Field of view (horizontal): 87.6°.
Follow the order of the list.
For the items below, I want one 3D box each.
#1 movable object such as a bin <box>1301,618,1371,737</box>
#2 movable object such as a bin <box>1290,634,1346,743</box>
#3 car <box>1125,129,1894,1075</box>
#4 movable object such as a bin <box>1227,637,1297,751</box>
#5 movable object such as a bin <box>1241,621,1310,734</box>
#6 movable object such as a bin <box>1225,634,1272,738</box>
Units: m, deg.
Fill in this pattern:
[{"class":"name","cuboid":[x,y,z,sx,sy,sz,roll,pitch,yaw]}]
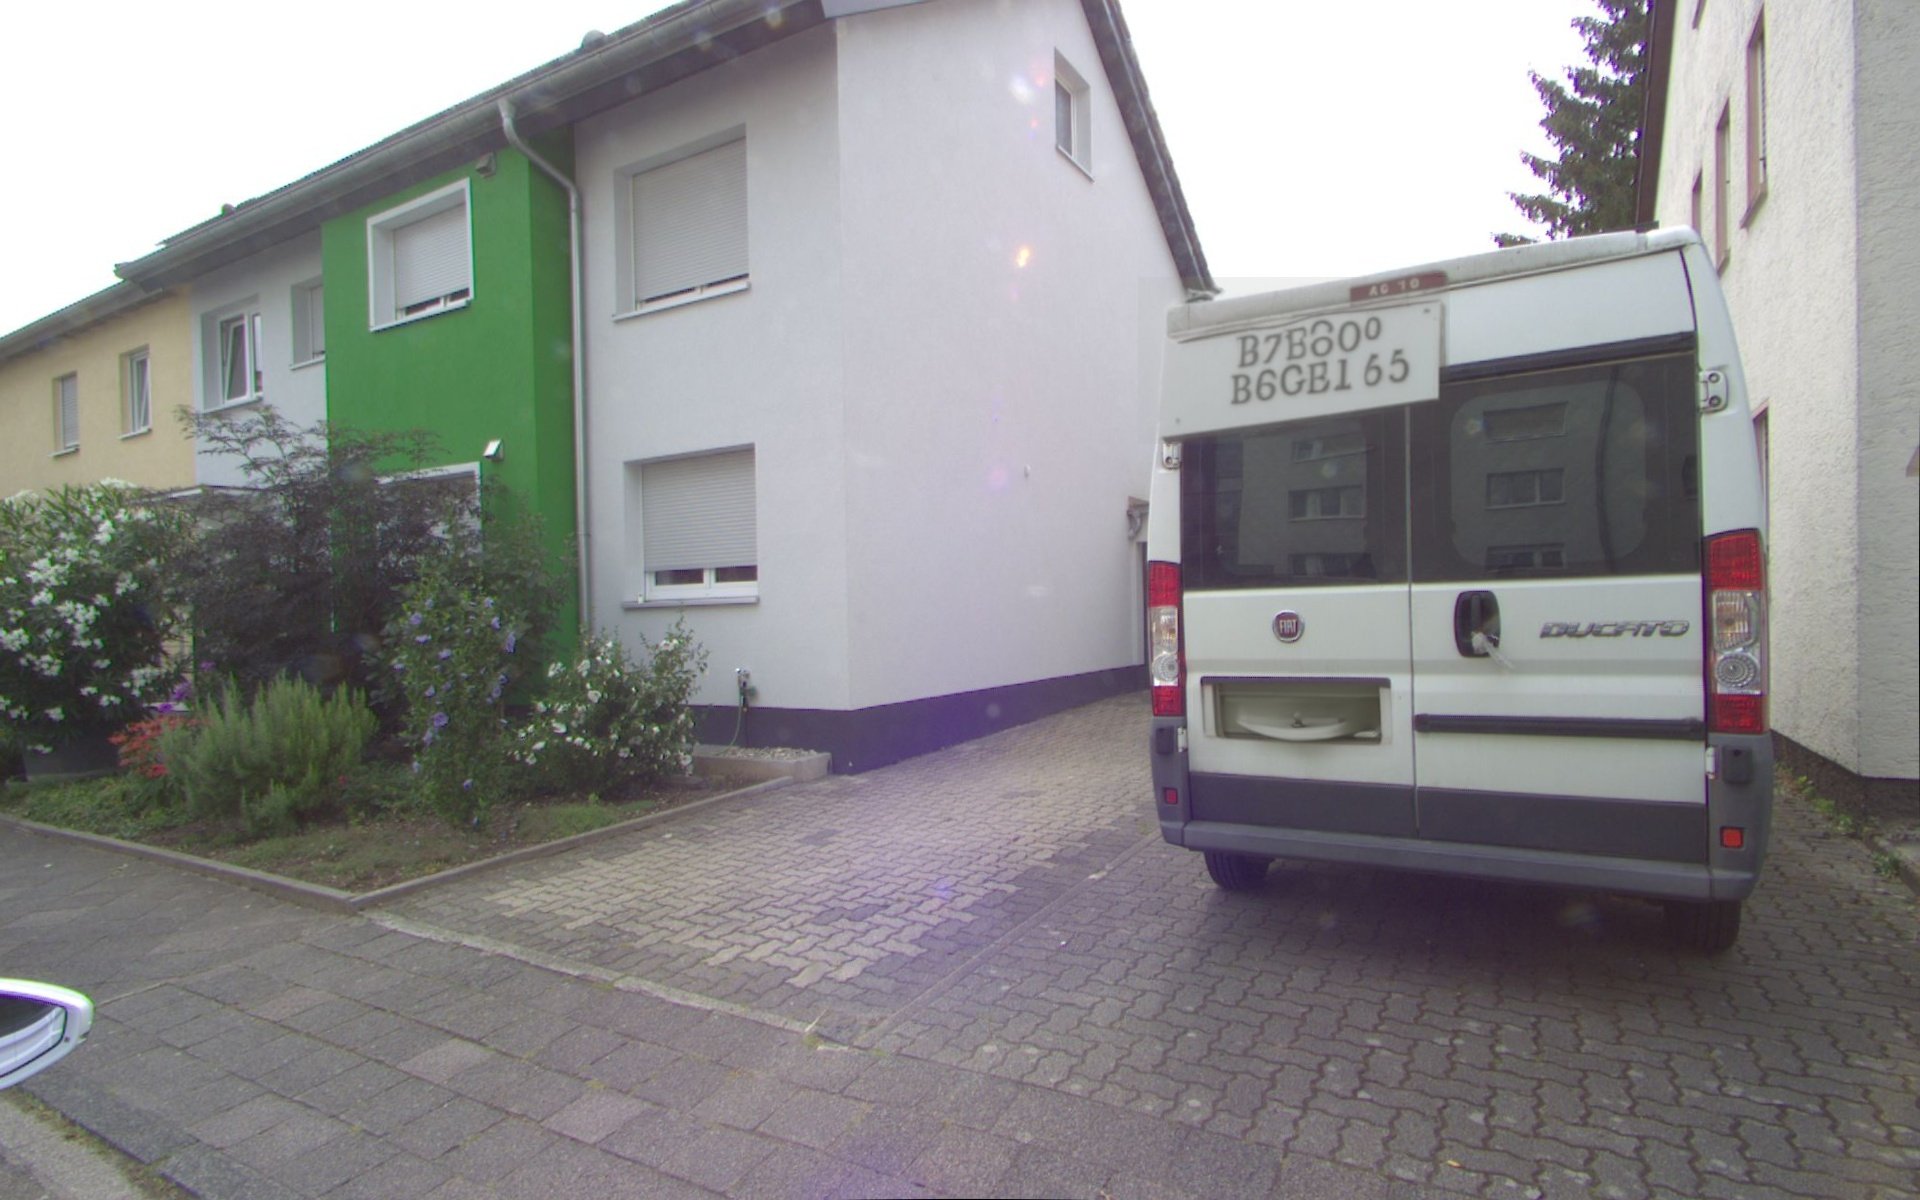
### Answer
[{"class":"movable object such as a bin","cuboid":[3.577,0.720,9.522,0.538,1.071,0.454,-1,2,30]},{"class":"movable object such as a bin","cuboid":[3.273,0.792,9.147,0.396,0.938,0.448,-1,2,30]},{"class":"car","cuboid":[2.901,-0.016,5.489,2.205,2.576,5.077,-1,1,31]},{"class":"movable object such as a bin","cuboid":[2.682,0.813,8.878,0.475,0.938,0.518,-1,2,30]},{"class":"movable object such as a bin","cuboid":[3.090,0.746,9.805,0.538,1.046,0.454,-1,2,30]},{"class":"movable object such as a bin","cuboid":[2.736,0.805,9.491,0.333,0.938,0.354,-1,2,30]}]
